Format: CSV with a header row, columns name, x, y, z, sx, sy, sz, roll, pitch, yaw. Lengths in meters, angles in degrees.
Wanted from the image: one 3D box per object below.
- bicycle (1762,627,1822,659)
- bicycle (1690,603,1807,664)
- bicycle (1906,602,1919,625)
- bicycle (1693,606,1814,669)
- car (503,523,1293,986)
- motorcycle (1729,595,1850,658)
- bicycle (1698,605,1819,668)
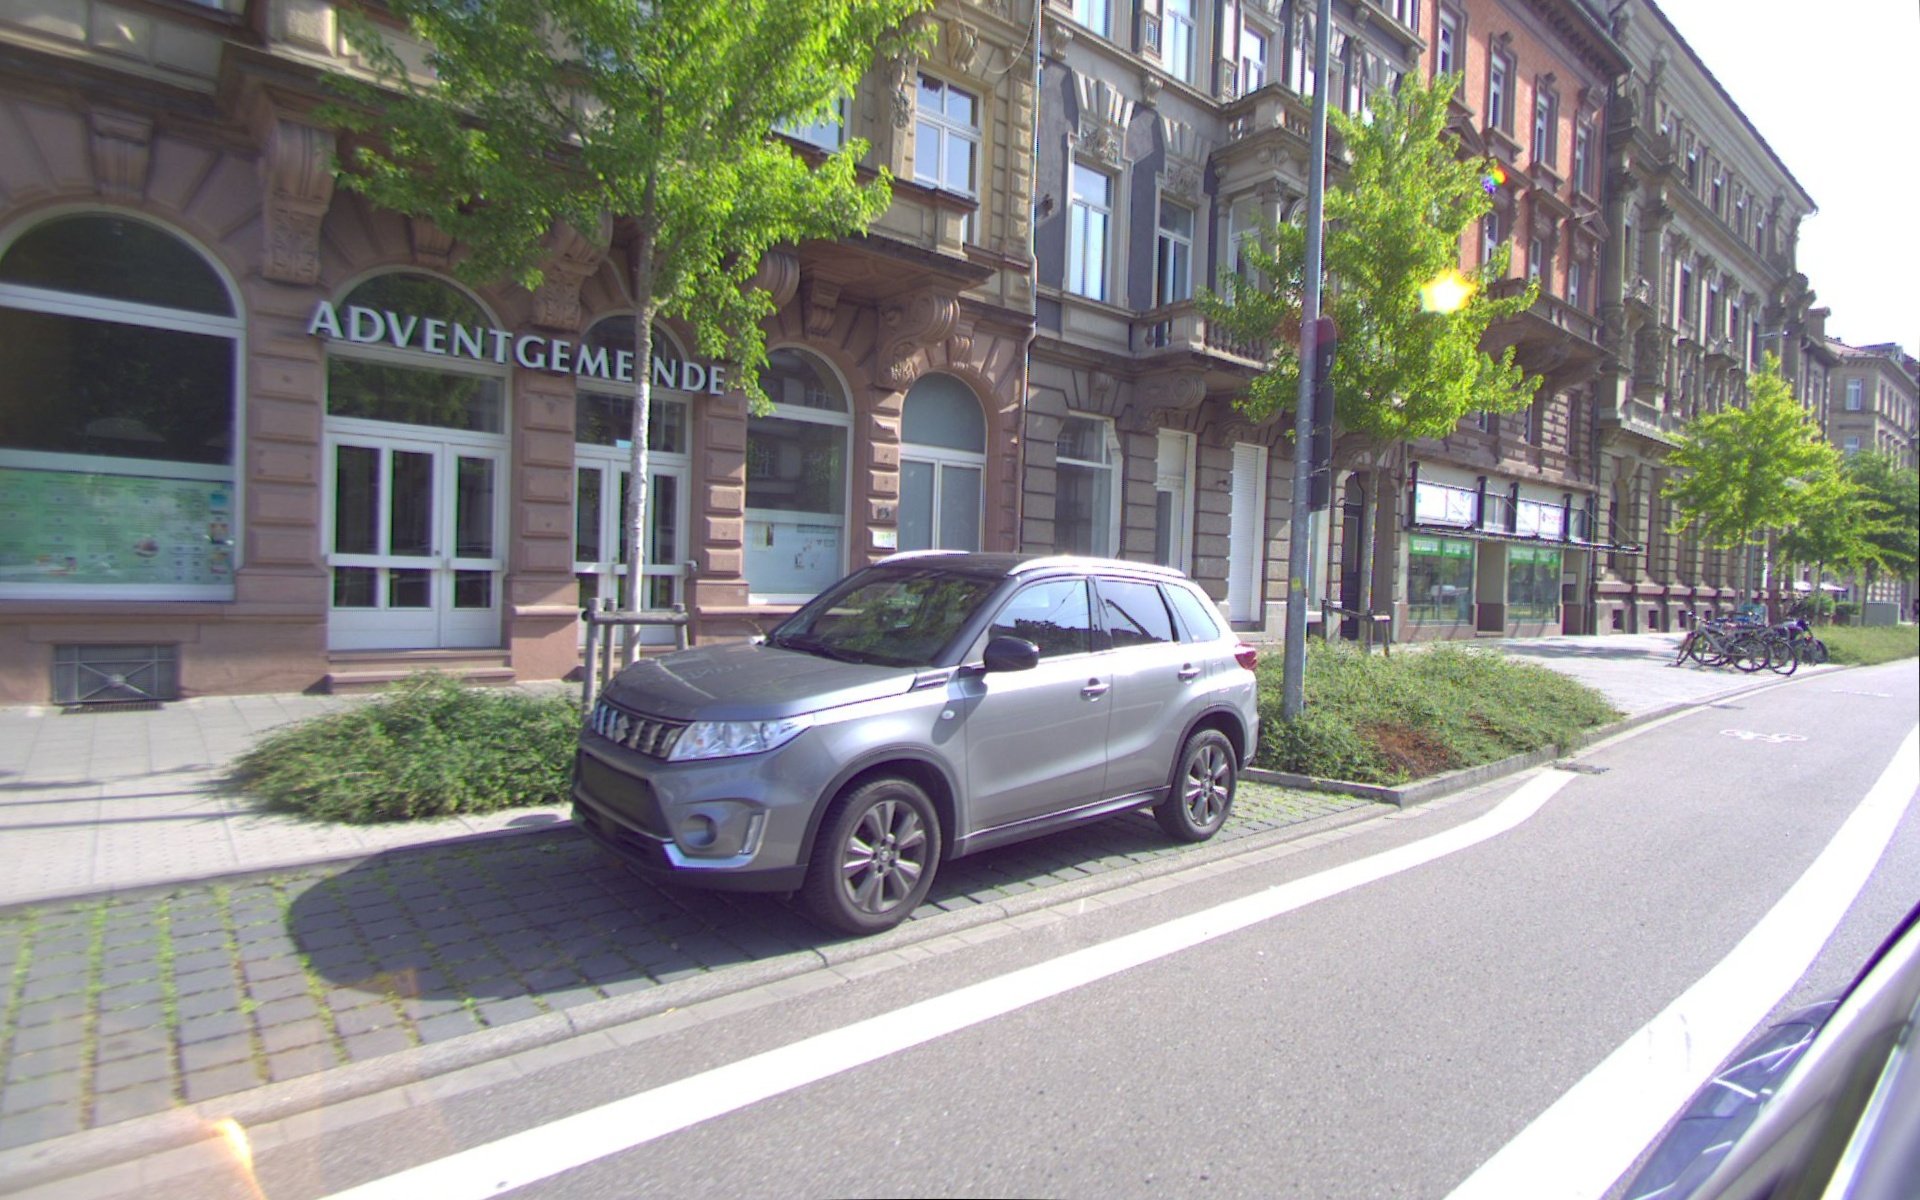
name,x,y,z,sx,sy,sz,roll,pitch,yaw
bicycle,18.733,0.964,22.794,0.354,0.617,0.961,1,3,-38
bicycle,16.454,0.675,21.139,0.661,1.109,1.808,0,3,-45
bicycle,42.425,0.648,44.019,0.496,0.964,1.789,1,3,-23
bicycle,15.490,0.706,19.799,0.366,1.067,1.789,1,3,-41
car,-0.039,0.496,5.601,4.177,1.608,1.772,0,3,-44
motorcycle,19.510,0.600,23.842,2.012,1.302,0.702,4,2,15
bicycle,15.791,0.704,20.052,0.366,1.067,1.789,1,3,-41
